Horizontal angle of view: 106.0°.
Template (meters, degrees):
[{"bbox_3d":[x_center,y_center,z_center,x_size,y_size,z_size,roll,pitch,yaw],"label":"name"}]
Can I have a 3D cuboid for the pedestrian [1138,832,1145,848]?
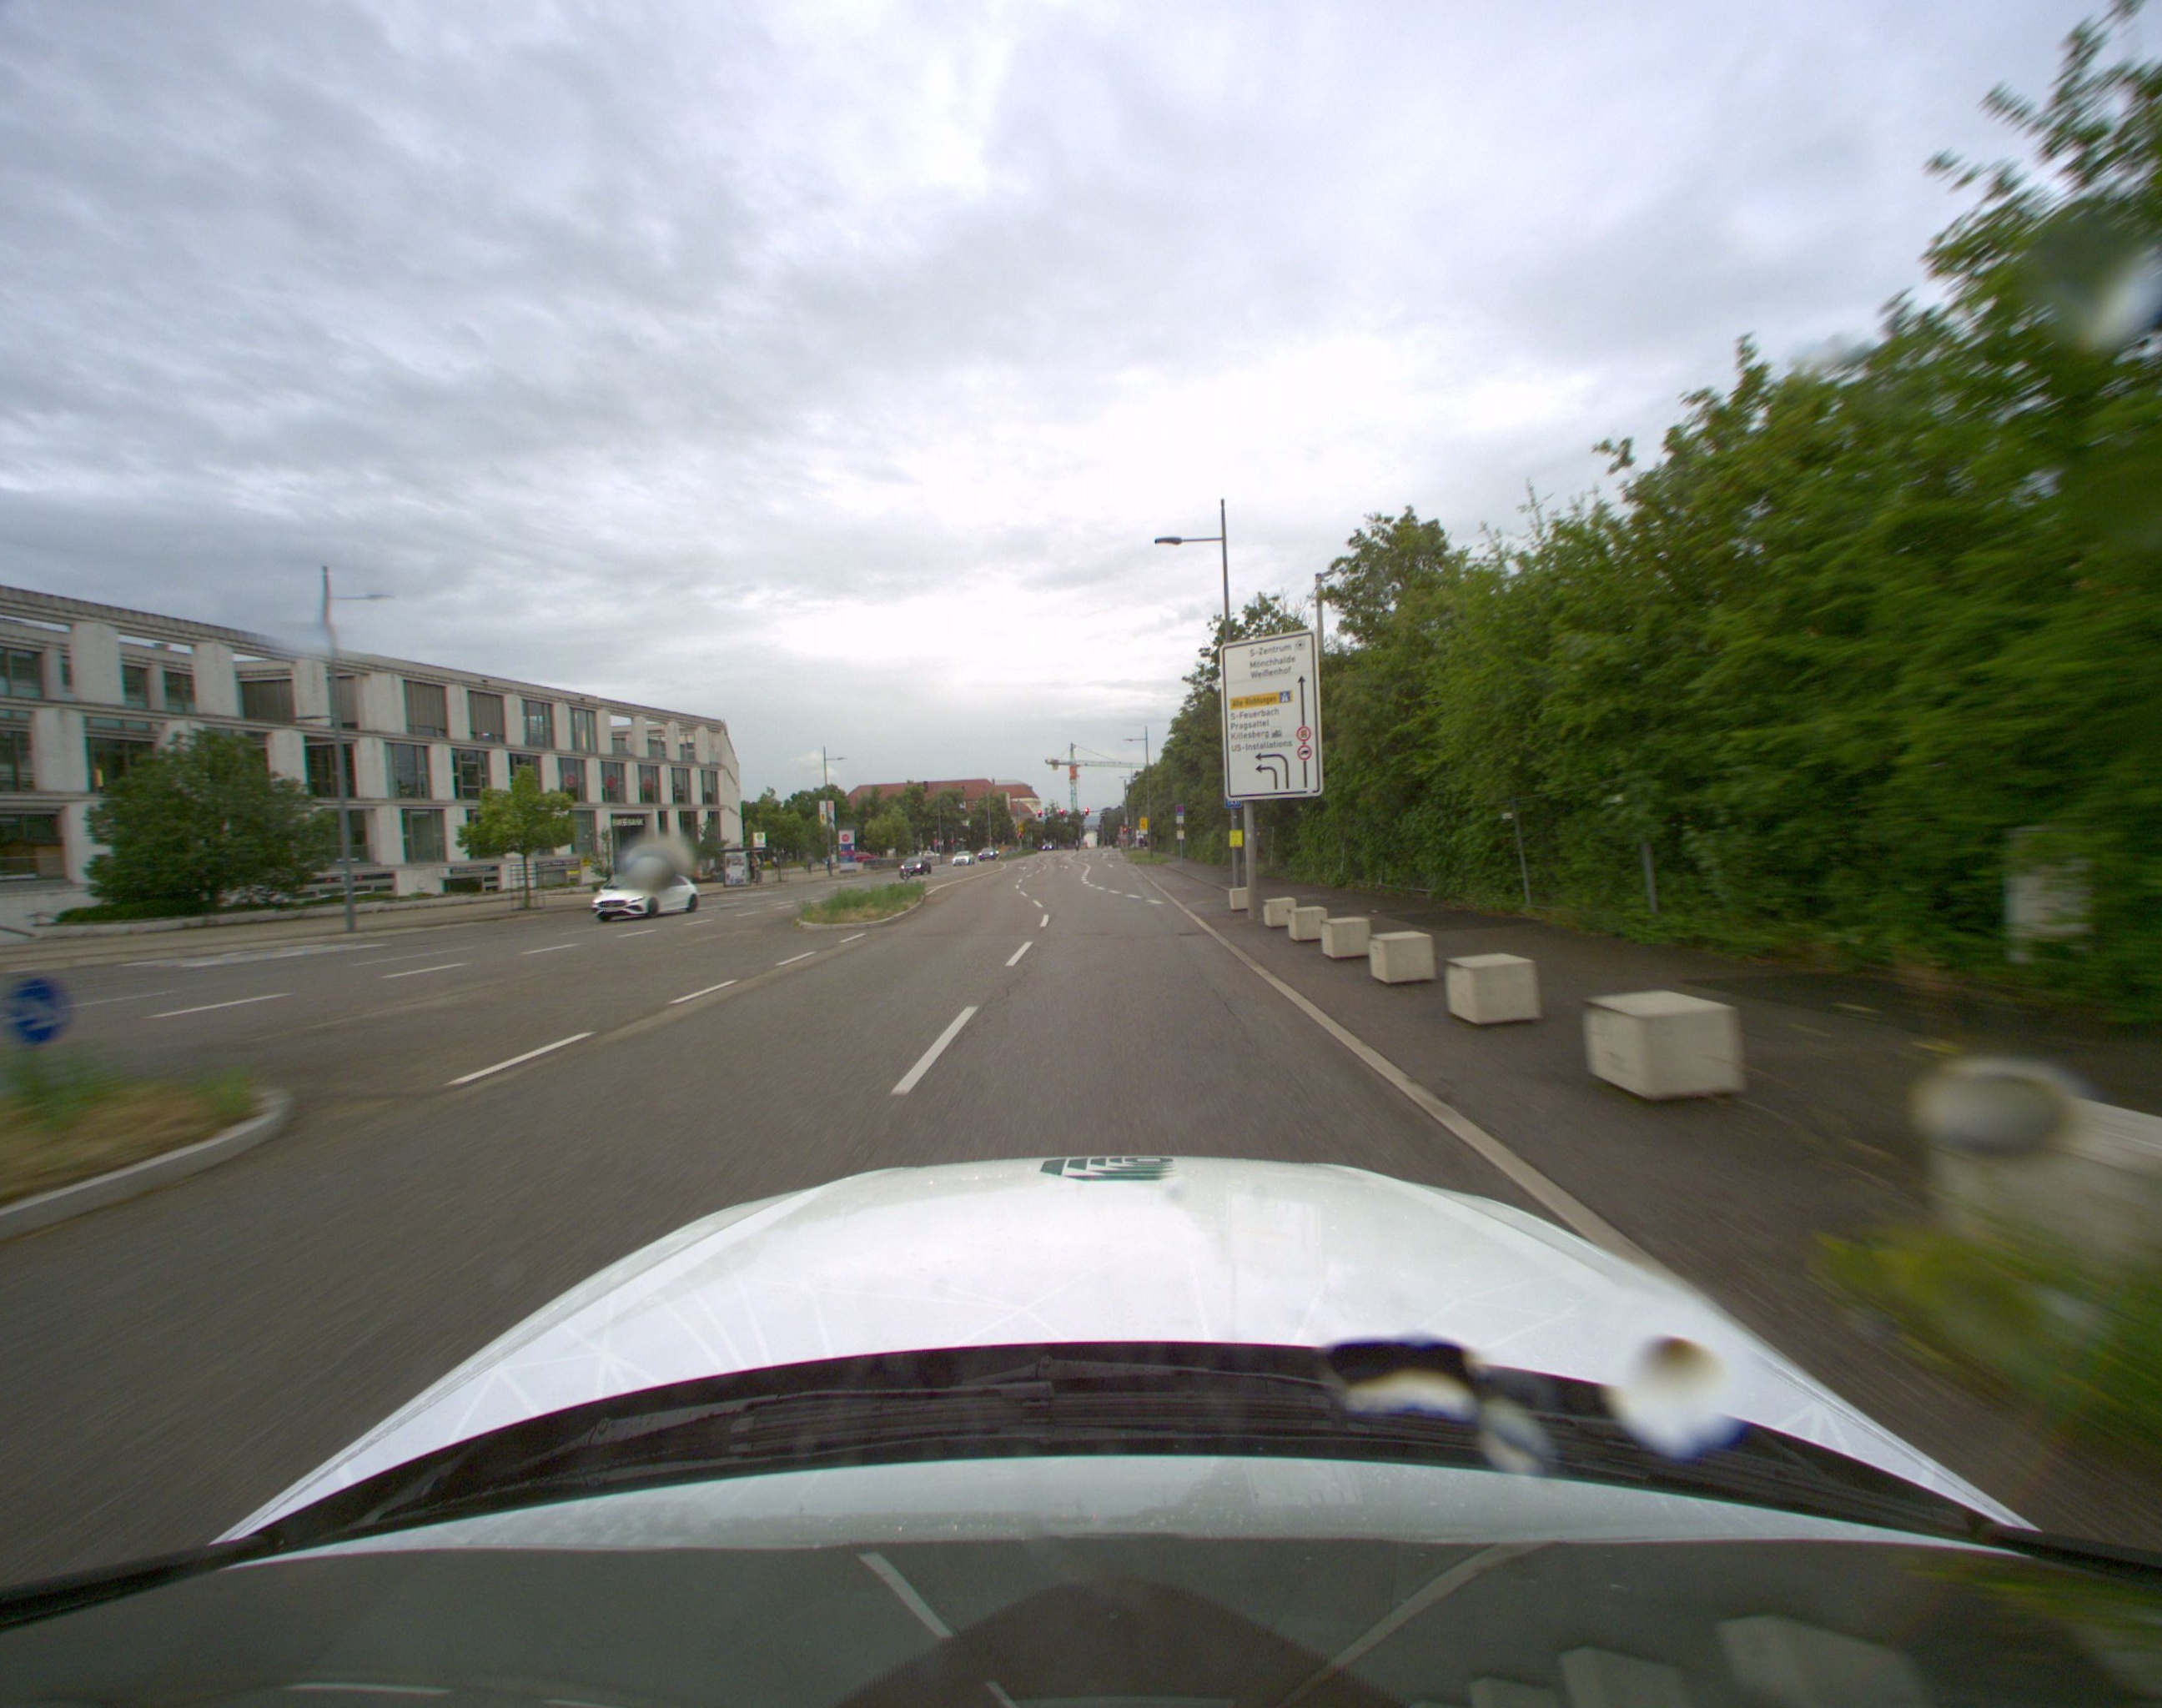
[{"bbox_3d":[7.397,-1.722,99.284,0.639,1.900,0.717,-3,1,-4],"label":"pedestrian"}]

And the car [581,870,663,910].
[{"bbox_3d":[-18.875,1.454,33.602,1.607,1.508,2.974,-1,0,2],"label":"car"}]

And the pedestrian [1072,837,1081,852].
[{"bbox_3d":[-0.617,-1.260,112.223,0.935,2.013,0.849,-5,0,7],"label":"pedestrian"}]

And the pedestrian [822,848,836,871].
[{"bbox_3d":[-20.219,0.439,65.289,0.750,1.842,0.747,-2,0,4],"label":"pedestrian"}]

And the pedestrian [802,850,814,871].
[{"bbox_3d":[-23.241,0.568,69.395,0.596,1.762,0.858,-2,0,4],"label":"pedestrian"}]

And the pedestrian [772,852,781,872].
[{"bbox_3d":[-25.183,0.651,67.356,0.498,1.690,0.911,-2,0,-15],"label":"pedestrian"}]

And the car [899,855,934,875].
[{"bbox_3d":[-12.931,0.859,64.243,1.840,1.462,3.869,-3,0,2],"label":"car"}]

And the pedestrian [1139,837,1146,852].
[{"bbox_3d":[7.167,-1.086,94.876,0.674,1.657,0.792,-3,1,-4],"label":"pedestrian"}]

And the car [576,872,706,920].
[{"bbox_3d":[-15.349,1.427,28.746,1.986,1.418,4.515,-2,0,2],"label":"car"}]

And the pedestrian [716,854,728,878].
[{"bbox_3d":[-25.698,0.844,58.244,0.522,1.725,0.567,-2,0,4],"label":"pedestrian"}]

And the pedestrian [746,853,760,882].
[{"bbox_3d":[-20.961,0.855,52.019,0.505,1.842,0.756,-2,0,1],"label":"pedestrian"}]

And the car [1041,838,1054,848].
[{"bbox_3d":[-6.752,-2.216,163.880,1.982,1.838,4.009,-1,-1,8],"label":"car"}]

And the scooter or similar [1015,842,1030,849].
[{"bbox_3d":[-12.384,-1.771,172.462,3.078,1.440,0.949,-3,1,0],"label":"scooter or similar"}]

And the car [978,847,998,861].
[{"bbox_3d":[-11.982,-0.023,105.518,1.825,1.572,4.595,-4,0,2],"label":"car"}]

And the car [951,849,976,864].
[{"bbox_3d":[-12.597,0.264,87.521,1.866,1.430,4.177,-4,0,2],"label":"car"}]
